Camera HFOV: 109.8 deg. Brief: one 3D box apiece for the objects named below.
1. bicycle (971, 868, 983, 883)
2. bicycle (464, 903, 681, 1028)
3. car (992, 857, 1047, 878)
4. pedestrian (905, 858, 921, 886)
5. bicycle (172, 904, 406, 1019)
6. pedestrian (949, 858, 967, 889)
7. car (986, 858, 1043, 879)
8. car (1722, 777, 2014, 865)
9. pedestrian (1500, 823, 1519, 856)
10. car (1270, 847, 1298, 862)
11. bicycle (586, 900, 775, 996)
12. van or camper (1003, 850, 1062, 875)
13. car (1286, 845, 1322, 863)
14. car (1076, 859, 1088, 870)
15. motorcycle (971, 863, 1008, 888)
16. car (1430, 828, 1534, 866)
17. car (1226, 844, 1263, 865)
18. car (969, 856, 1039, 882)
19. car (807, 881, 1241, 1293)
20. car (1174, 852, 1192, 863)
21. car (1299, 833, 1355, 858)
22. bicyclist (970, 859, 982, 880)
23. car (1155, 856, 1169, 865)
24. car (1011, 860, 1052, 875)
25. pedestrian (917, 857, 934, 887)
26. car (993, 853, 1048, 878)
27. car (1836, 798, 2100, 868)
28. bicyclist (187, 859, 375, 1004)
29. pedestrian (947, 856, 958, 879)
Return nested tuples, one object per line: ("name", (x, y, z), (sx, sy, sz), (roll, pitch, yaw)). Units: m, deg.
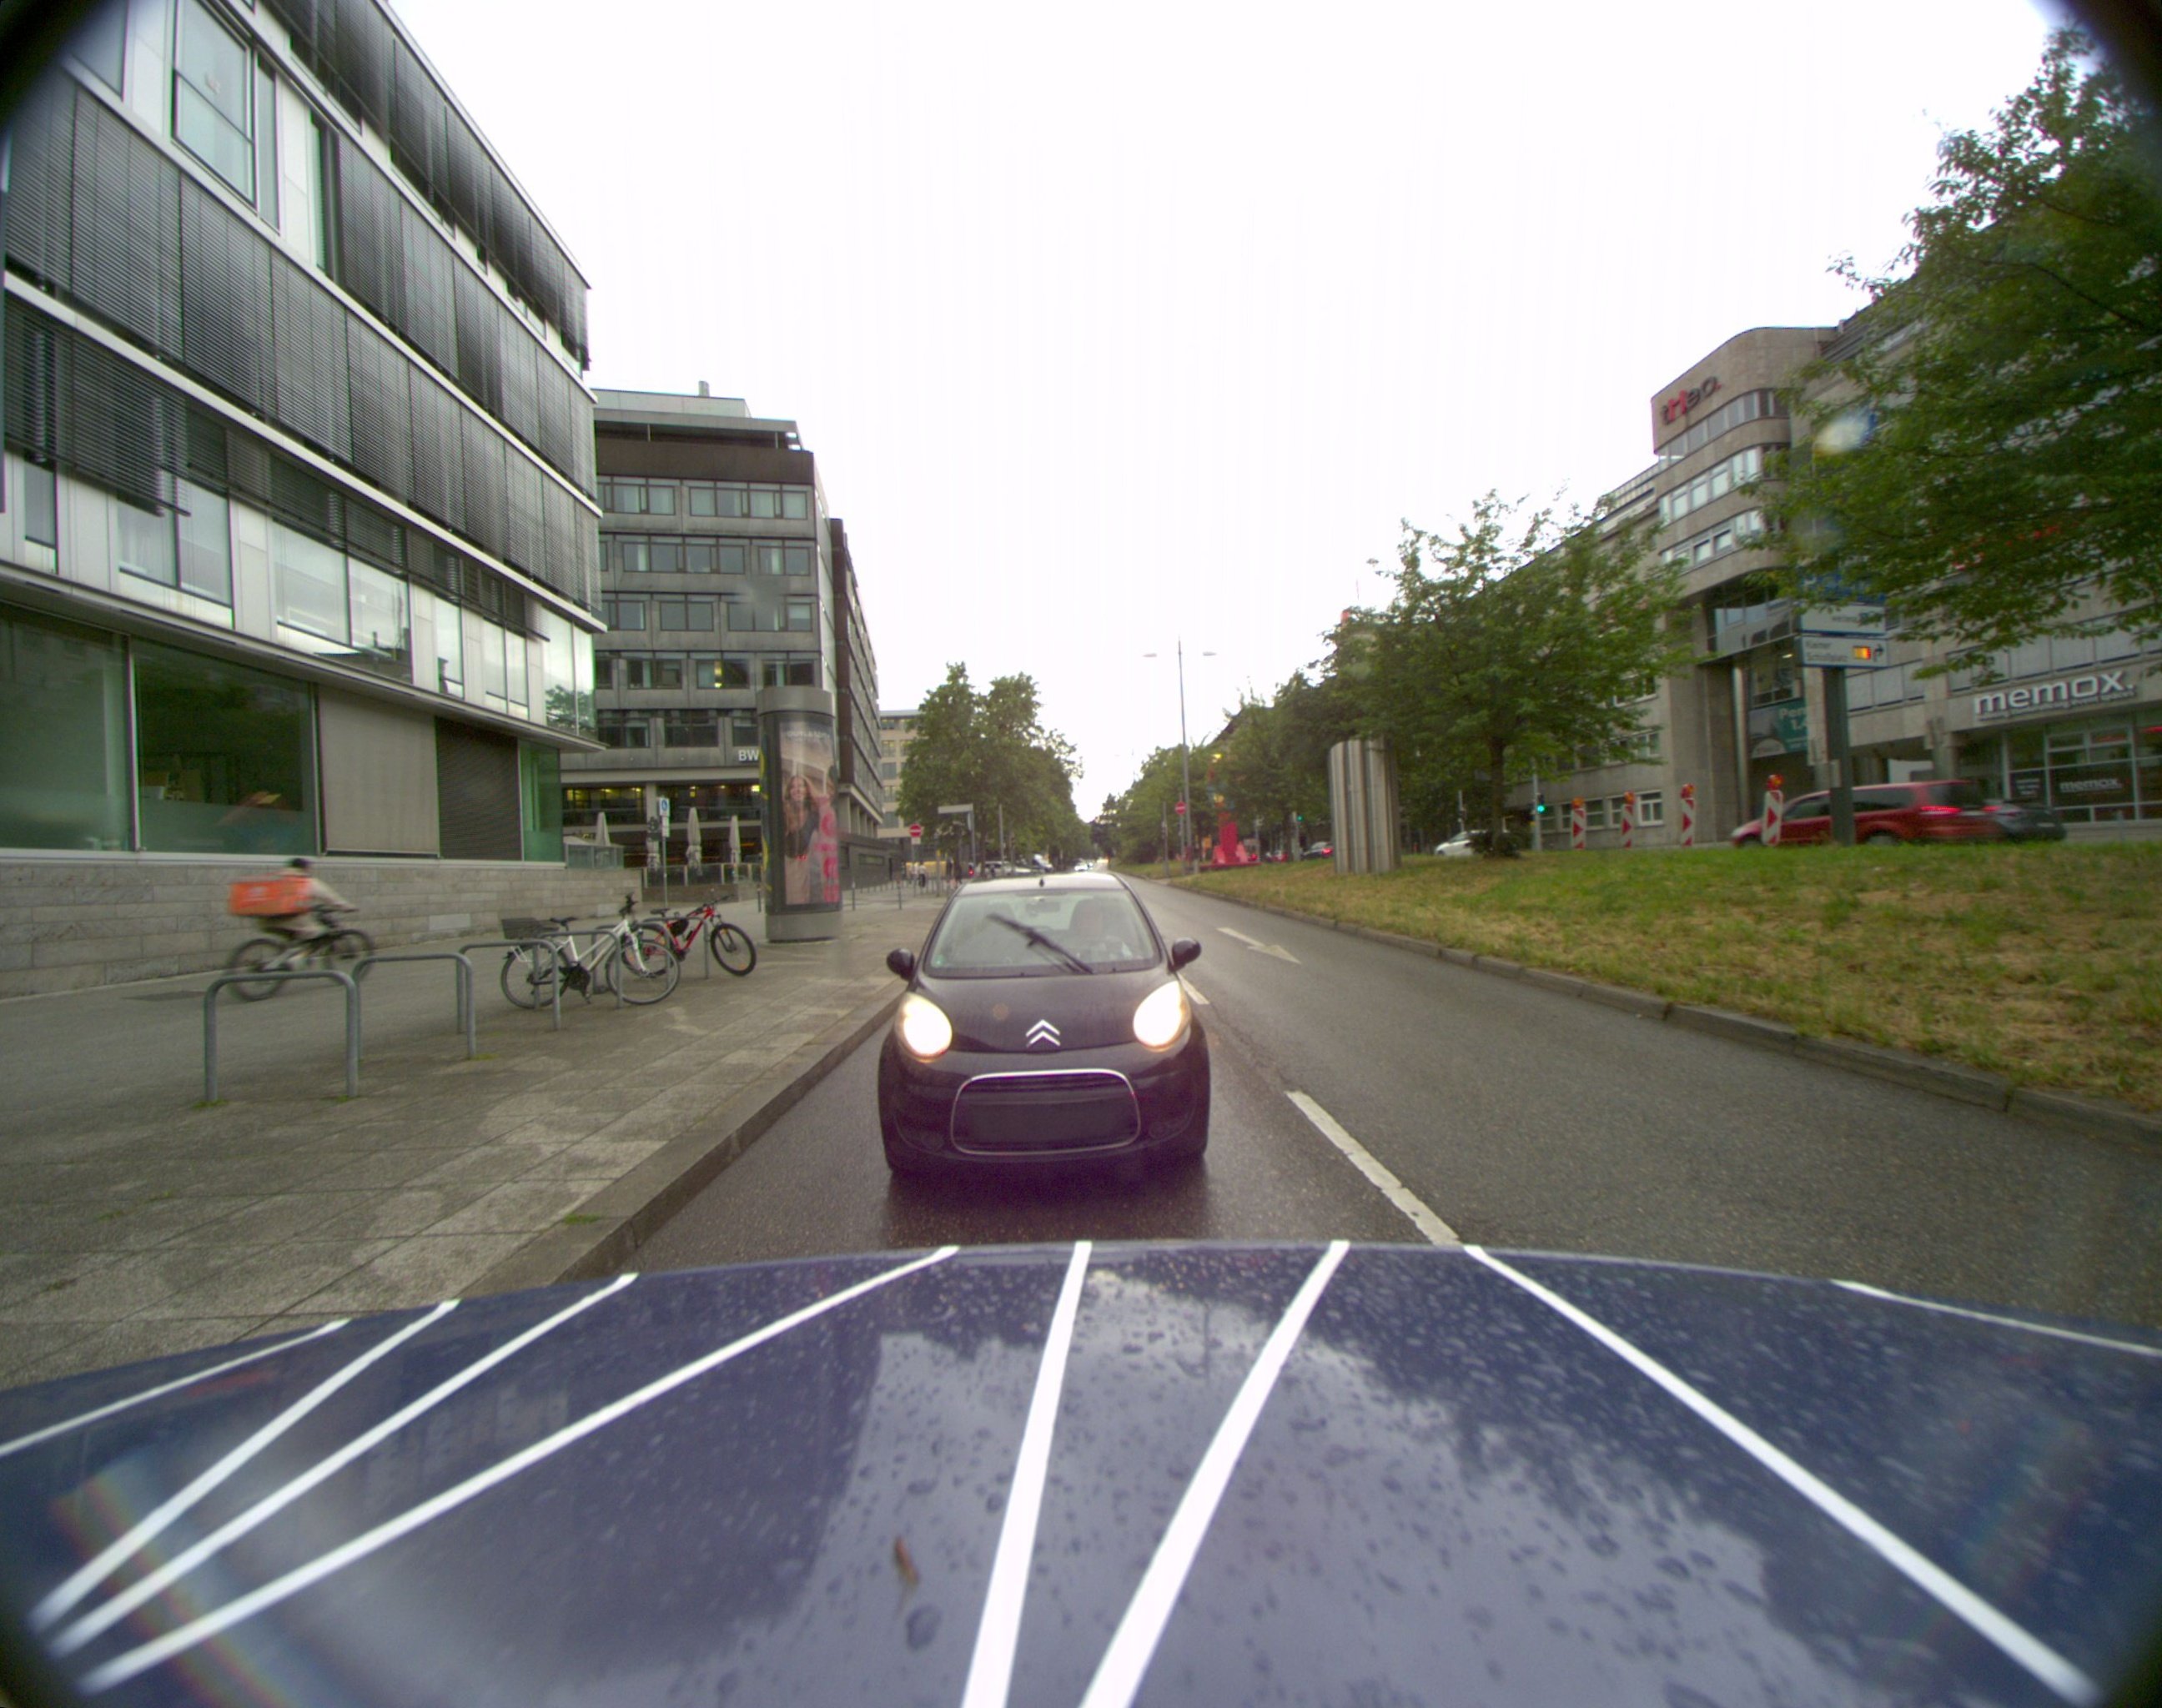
("bicycle", (-9.028, 1.848, 65.818), (0.777, 1.132, 1.978), (-6, 0, -3))
("bicycle", (-5.295, 1.144, 7.965), (1.840, 1.190, 0.660), (-1, 0, 4))
("car", (-5.369, 1.205, 66.375), (4.381, 1.528, 1.919), (-4, 0, 27))
("pedestrian", (-11.785, 1.253, 53.279), (0.803, 1.857, 0.898), (-3, 0, 0))
("bicycle", (-9.736, 1.259, 9.503), (1.012, 1.107, 2.065), (-3, 0, -13))
("pedestrian", (-6.975, 1.099, 42.975), (0.528, 1.675, 0.723), (-3, 0, 44))
("car", (-5.598, 1.213, 63.780), (4.347, 1.528, 1.919), (-4, 0, 27))
("car", (18.034, -0.664, 17.813), (1.730, 1.717, 4.580), (-3, 0, -8))
("pedestrian", (23.387, -0.798, 41.479), (0.529, 1.777, 0.721), (-3, 0, 1))
("car", (20.572, 0.058, 77.092), (1.690, 1.493, 3.692), (-2, 0, -3))
("bicycle", (-5.133, 1.199, 9.817), (1.988, 1.097, 0.808), (-2, 0, 4))
("van or camper", (-5.517, 1.021, 86.369), (6.250, 2.432, 2.319), (-4, 0, 30))
("car", (21.083, 0.016, 72.103), (1.867, 1.612, 4.467), (-2, 0, -3))
("car", (0.127, 1.666, 126.183), (1.791, 1.736, 4.574), (-2, 0, -3))
("motorcycle", (-5.541, 1.290, 46.057), (2.087, 1.349, 0.677), (-3, 0, 7))
("car", (17.215, -0.277, 32.904), (1.825, 1.466, 4.190), (-3, 0, -8))
("car", (14.902, 0.063, 69.366), (1.951, 1.690, 3.997), (-3, 0, -8))
("car", (-5.639, 1.108, 55.609), (4.792, 1.640, 1.920), (-4, 0, 30))
("car", (-0.272, 0.978, 4.905), (1.634, 1.408, 3.834), (-3, 0, -2))
("car", (14.122, 0.511, 105.566), (1.866, 1.421, 4.132), (-2, 0, -2))
("car", (16.012, -0.556, 49.683), (1.873, 1.466, 3.997), (-3, 0, -8))
("bicyclist", (-9.092, 1.314, 65.903), (0.812, 1.739, 1.079), (-6, 2, -5))
("car", (13.982, 1.175, 131.108), (1.866, 1.421, 4.566), (-2, 0, -1))
("car", (-5.381, 1.453, 82.704), (4.052, 1.415, 1.711), (-4, 0, 29))
("pedestrian", (-10.890, 1.281, 53.365), (0.851, 2.027, 0.753), (-3, 0, 7))
("car", (-5.532, 1.065, 69.257), (4.507, 1.981, 1.925), (-4, 0, 29))
("car", (25.177, -0.520, 21.914), (1.867, 1.715, 4.791), (-2, 0, -3))
("bicyclist", (-9.735, 0.897, 9.329), (1.015, 1.573, 1.135), (-5, 1, -13))
("pedestrian", (-10.834, 1.165, 64.069), (0.721, 1.873, 0.656), (-3, 0, -6))
